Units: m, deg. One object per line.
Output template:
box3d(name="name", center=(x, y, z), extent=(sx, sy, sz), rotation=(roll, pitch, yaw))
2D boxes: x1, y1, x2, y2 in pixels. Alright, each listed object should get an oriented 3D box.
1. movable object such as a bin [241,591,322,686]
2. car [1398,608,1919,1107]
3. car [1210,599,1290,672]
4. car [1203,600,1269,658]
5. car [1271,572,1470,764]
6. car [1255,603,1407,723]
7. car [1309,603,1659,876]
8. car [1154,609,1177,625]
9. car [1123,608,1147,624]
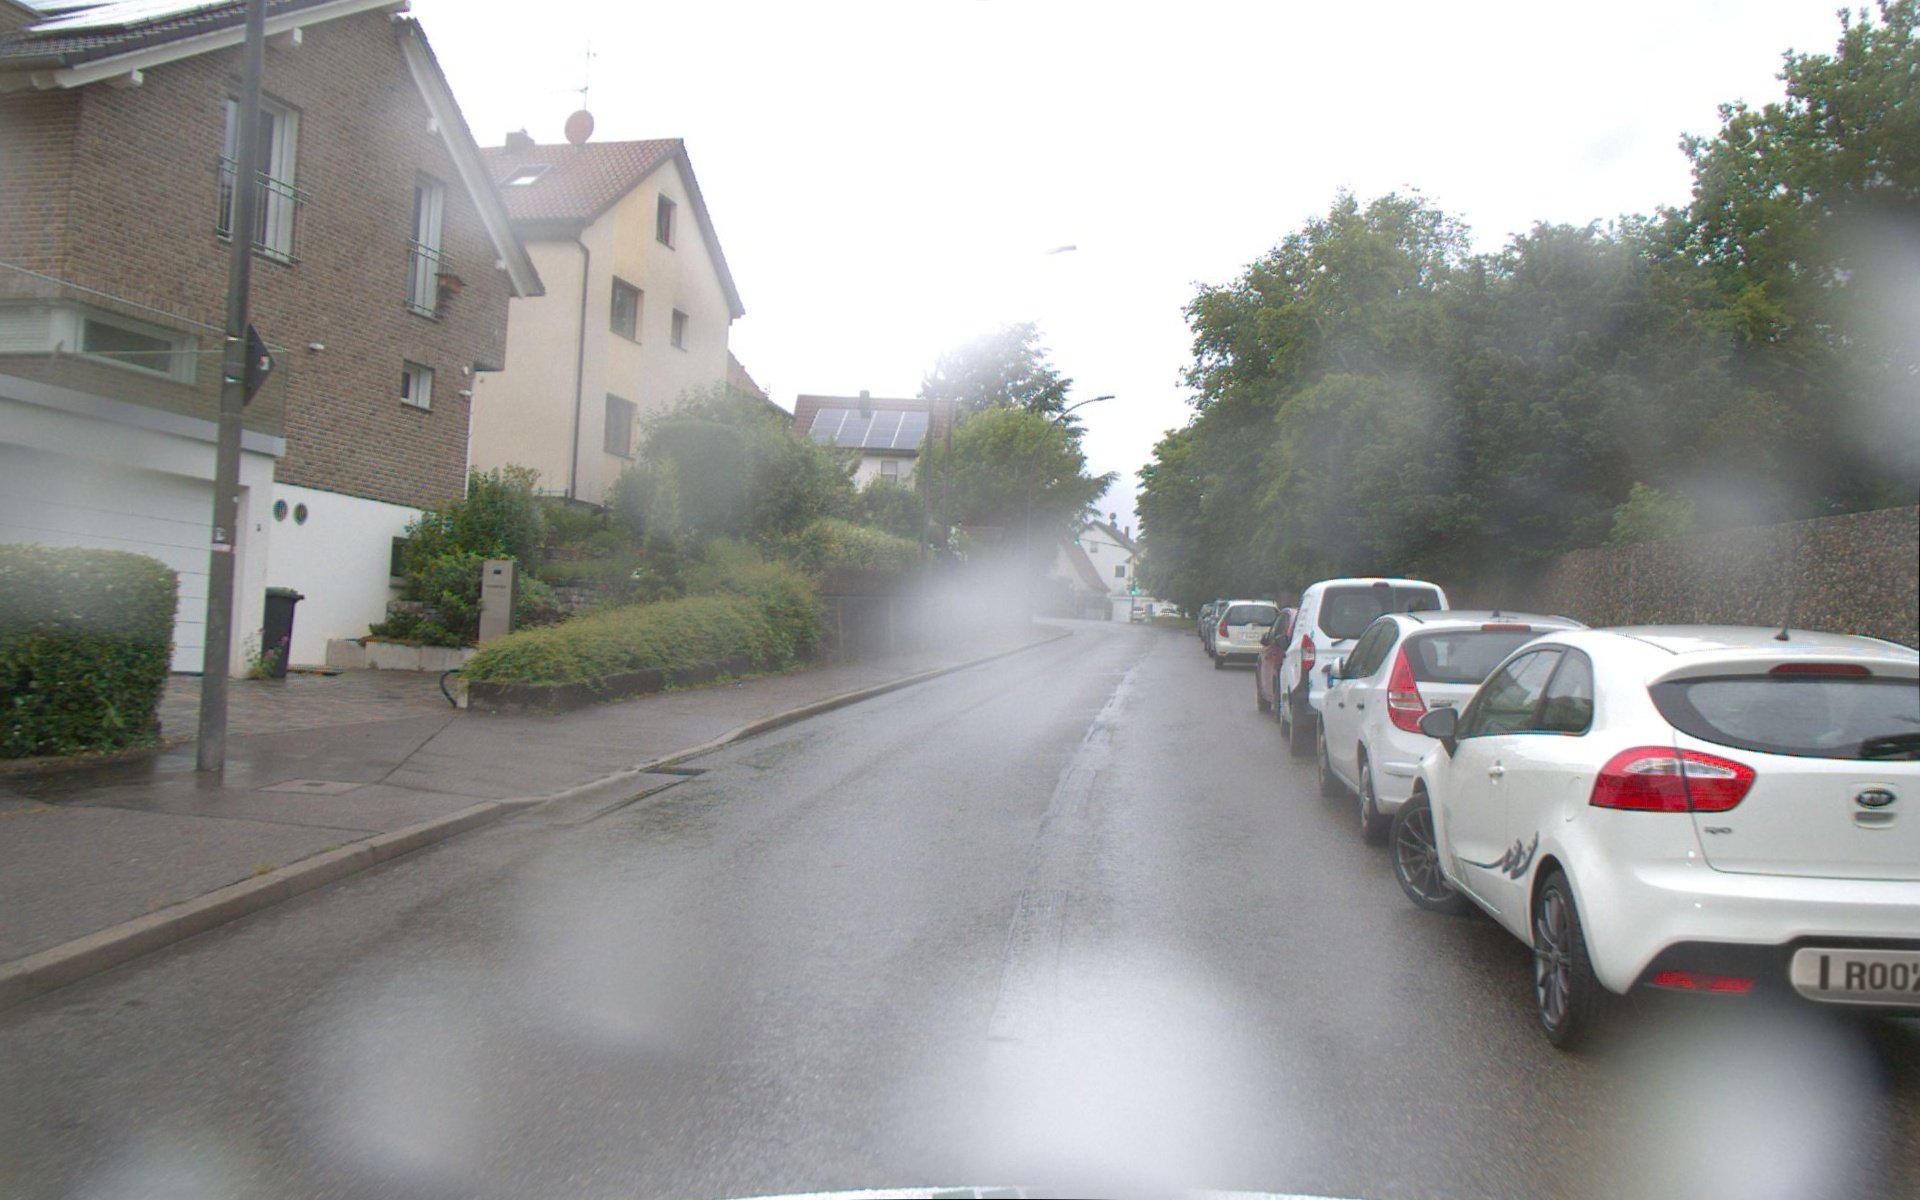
box3d(name="movable object such as a bin", center=(-8.096, 0.452, 19.754), extent=(0.548, 1.093, 0.712), rotation=(1, 0, 19))
box3d(name="car", center=(3.045, 0.812, 7.100), extent=(1.577, 1.506, 4.040), rotation=(2, 0, 5))
box3d(name="car", center=(6.910, 0.837, 39.648), extent=(1.776, 1.601, 3.883), rotation=(2, -1, 9))
box3d(name="car", center=(8.639, 0.917, 52.000), extent=(1.705, 1.697, 4.500), rotation=(2, -1, 5))
box3d(name="car", center=(4.306, 0.668, 17.869), extent=(1.602, 1.771, 4.139), rotation=(2, 0, 8))
box3d(name="car", center=(5.000, 0.795, 22.675), extent=(1.550, 1.480, 3.666), rotation=(0, 0, 5))
box3d(name="car", center=(3.540, 0.830, 11.872), extent=(1.611, 1.487, 4.003), rotation=(3, 1, 7))
box3d(name="car", center=(19.308, 1.585, 155.605), extent=(1.866, 1.467, 4.003), rotation=(2, 0, 11))
box3d(name="car", center=(16.537, 1.531, 156.303), extent=(1.866, 1.467, 4.003), rotation=(2, 0, 11))
